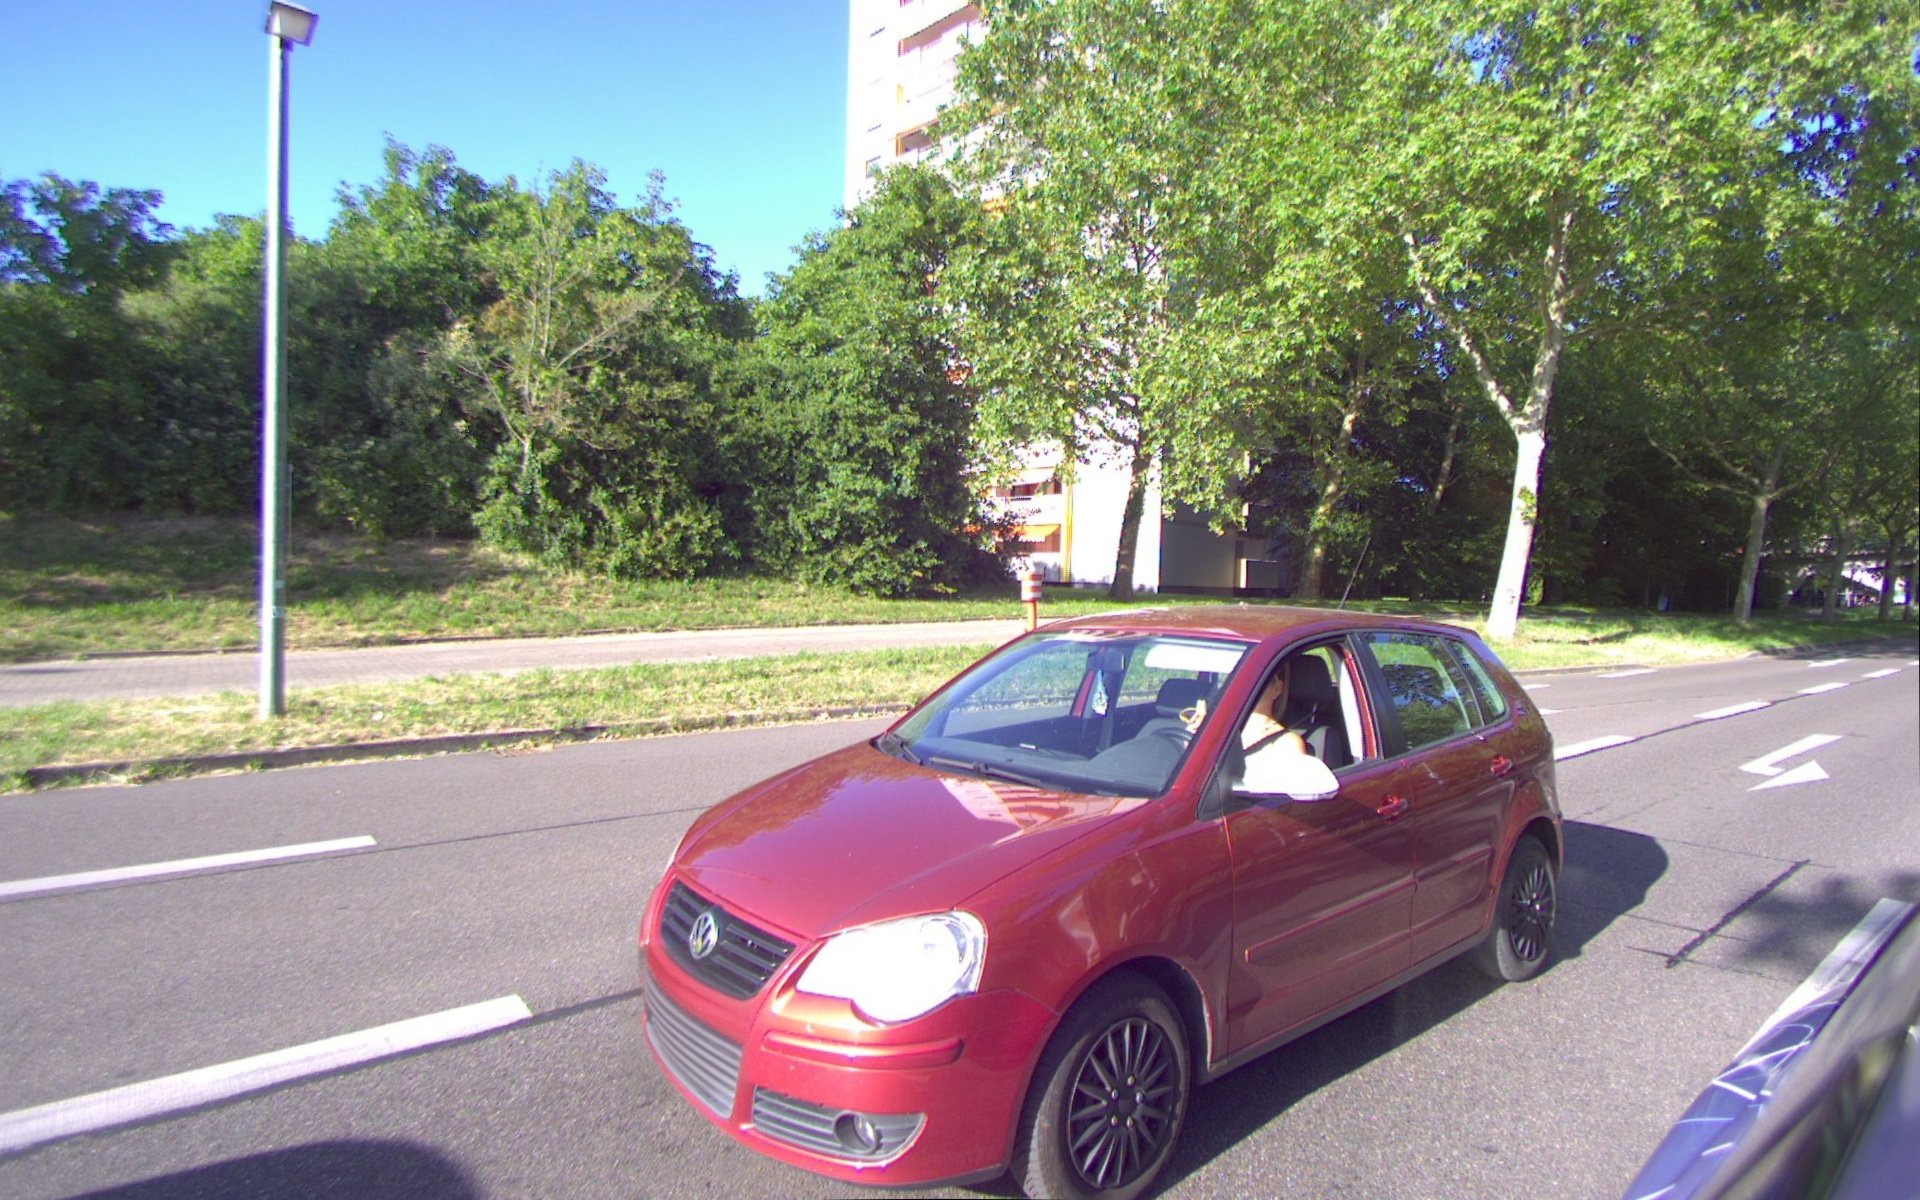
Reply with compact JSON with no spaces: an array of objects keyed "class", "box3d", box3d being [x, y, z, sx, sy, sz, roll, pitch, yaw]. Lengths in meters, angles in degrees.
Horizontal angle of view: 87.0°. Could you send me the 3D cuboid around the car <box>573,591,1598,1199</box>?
[{"class":"car","box3d":[0.730,0.707,3.694,3.694,1.456,1.645,-1,1,-40]}]
